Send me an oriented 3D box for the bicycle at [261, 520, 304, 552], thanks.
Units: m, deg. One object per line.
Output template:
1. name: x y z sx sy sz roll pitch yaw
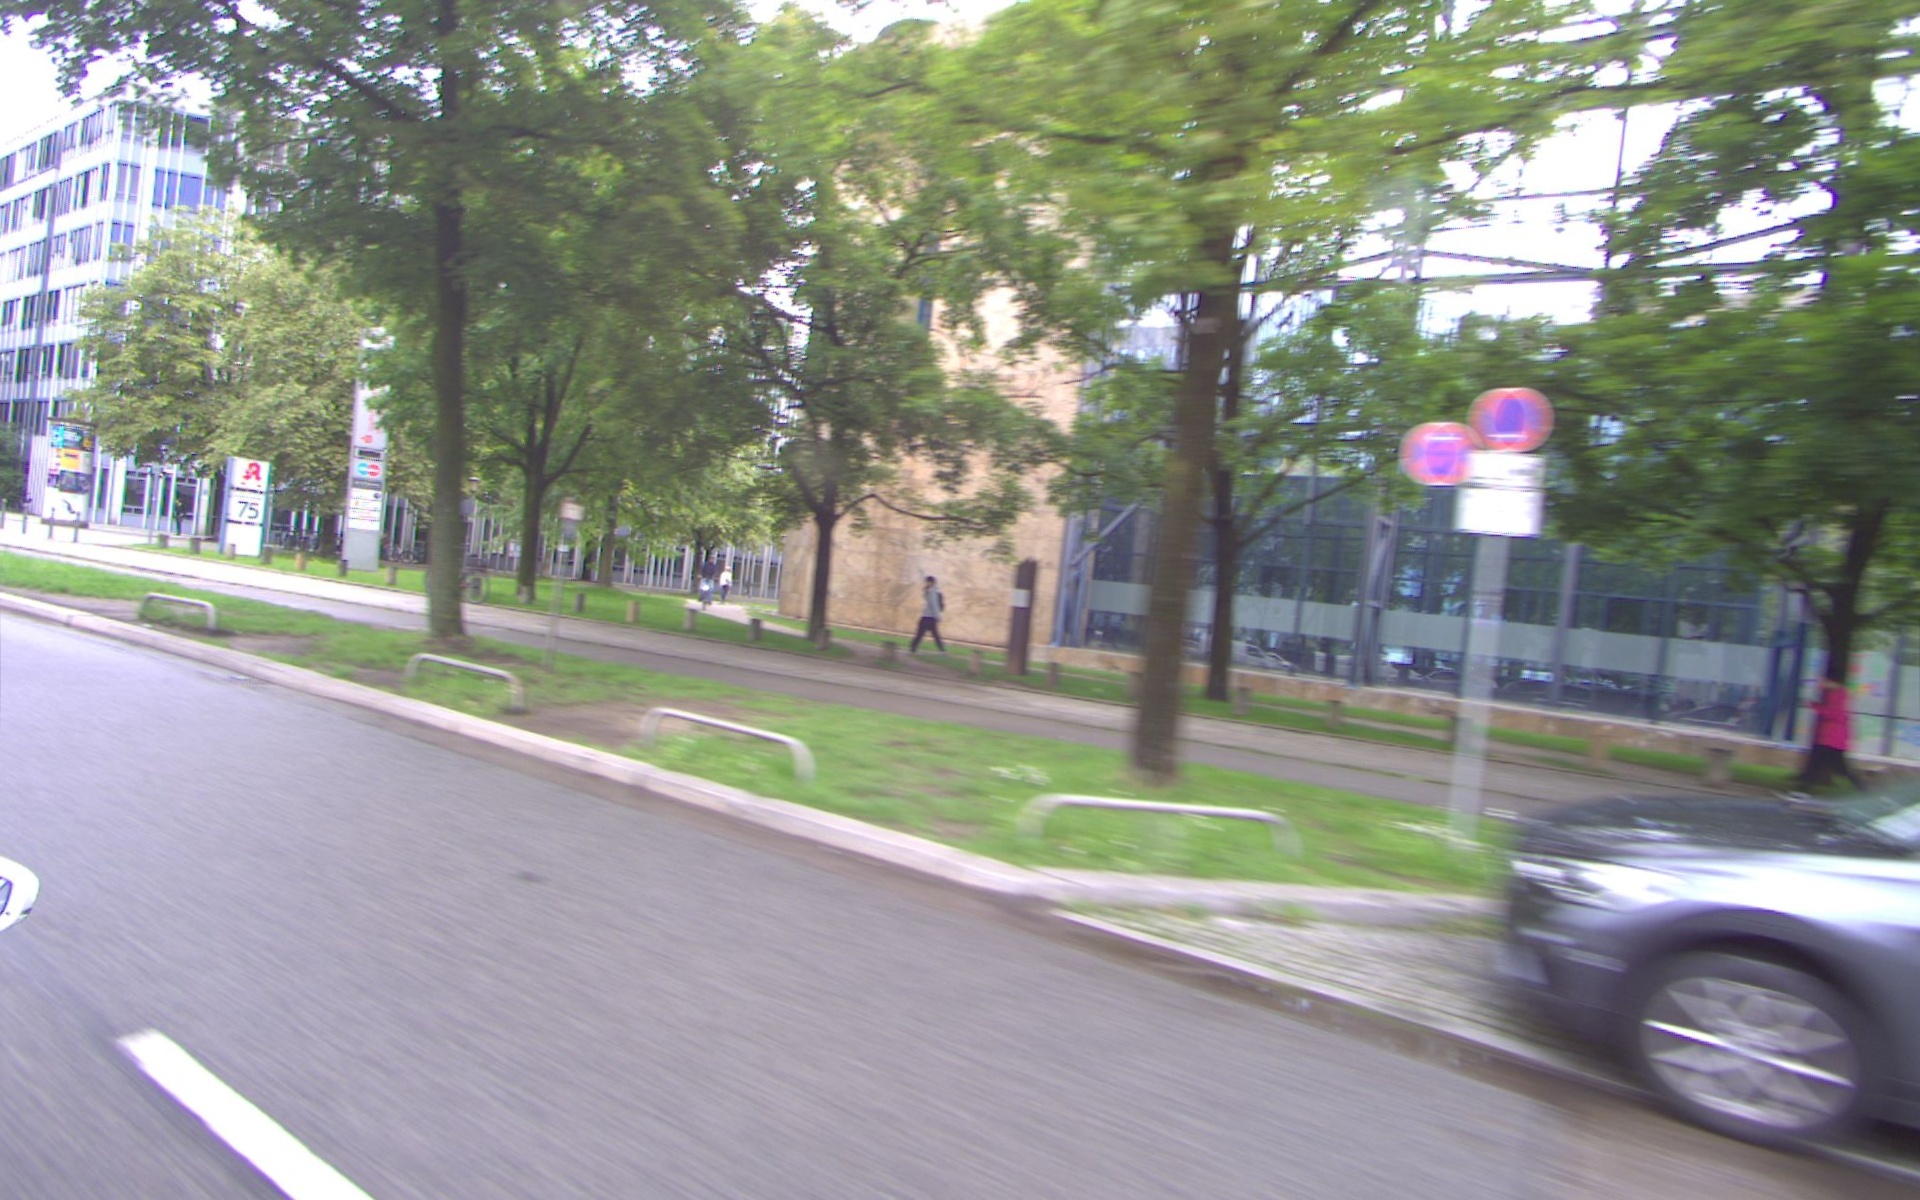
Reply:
1. bicycle: -31.443 -2.983 46.697 2.019 1.276 0.607 7 1 25

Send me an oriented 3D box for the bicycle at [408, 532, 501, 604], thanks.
1. bicycle: -10.511 -0.668 20.906 1.886 1.266 0.621 7 1 26

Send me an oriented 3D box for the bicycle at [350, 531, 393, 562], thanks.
1. bicycle: -29.303 -2.675 50.068 2.135 1.276 0.553 7 1 22

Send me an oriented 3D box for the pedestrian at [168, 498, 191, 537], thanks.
1. pedestrian: -38.893 -4.104 50.115 0.759 1.795 0.685 8 2 43

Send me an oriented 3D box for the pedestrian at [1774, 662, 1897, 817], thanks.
1. pedestrian: 10.353 1.617 11.904 0.733 1.667 0.853 3 3 -40

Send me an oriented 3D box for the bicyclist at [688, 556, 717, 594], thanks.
1. bicyclist: -8.480 -0.825 33.154 0.714 1.144 0.957 6 1 -10

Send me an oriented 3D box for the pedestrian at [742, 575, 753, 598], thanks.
1. pedestrian: -16.365 -1.061 77.624 0.476 1.679 0.482 7 2 30

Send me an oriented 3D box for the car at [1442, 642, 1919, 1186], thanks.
1. car: 4.400 1.250 3.647 4.525 1.611 1.863 7 1 30

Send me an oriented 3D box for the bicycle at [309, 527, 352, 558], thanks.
1. bicycle: -30.294 -2.776 48.408 2.135 1.276 0.509 7 1 22

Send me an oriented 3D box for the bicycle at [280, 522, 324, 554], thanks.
1. bicycle: -30.835 -2.898 47.120 2.135 1.276 0.509 7 1 22

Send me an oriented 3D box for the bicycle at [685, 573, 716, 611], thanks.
1. bicycle: -8.536 -0.275 33.153 0.714 1.144 1.763 6 1 -9

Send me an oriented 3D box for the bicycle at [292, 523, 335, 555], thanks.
1. bicycle: -30.656 -2.873 47.674 2.135 1.276 0.509 7 1 22

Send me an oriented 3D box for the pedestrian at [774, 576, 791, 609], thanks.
1. pedestrian: -9.207 -0.386 52.170 0.506 1.652 0.504 8 2 39

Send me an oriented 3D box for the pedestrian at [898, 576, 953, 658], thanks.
1. pedestrian: -0.749 0.371 21.871 0.866 1.667 0.570 7 2 38

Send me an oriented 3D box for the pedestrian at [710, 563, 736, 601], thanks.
1. pedestrian: -11.306 -0.857 47.968 0.849 1.700 0.589 7 1 13
